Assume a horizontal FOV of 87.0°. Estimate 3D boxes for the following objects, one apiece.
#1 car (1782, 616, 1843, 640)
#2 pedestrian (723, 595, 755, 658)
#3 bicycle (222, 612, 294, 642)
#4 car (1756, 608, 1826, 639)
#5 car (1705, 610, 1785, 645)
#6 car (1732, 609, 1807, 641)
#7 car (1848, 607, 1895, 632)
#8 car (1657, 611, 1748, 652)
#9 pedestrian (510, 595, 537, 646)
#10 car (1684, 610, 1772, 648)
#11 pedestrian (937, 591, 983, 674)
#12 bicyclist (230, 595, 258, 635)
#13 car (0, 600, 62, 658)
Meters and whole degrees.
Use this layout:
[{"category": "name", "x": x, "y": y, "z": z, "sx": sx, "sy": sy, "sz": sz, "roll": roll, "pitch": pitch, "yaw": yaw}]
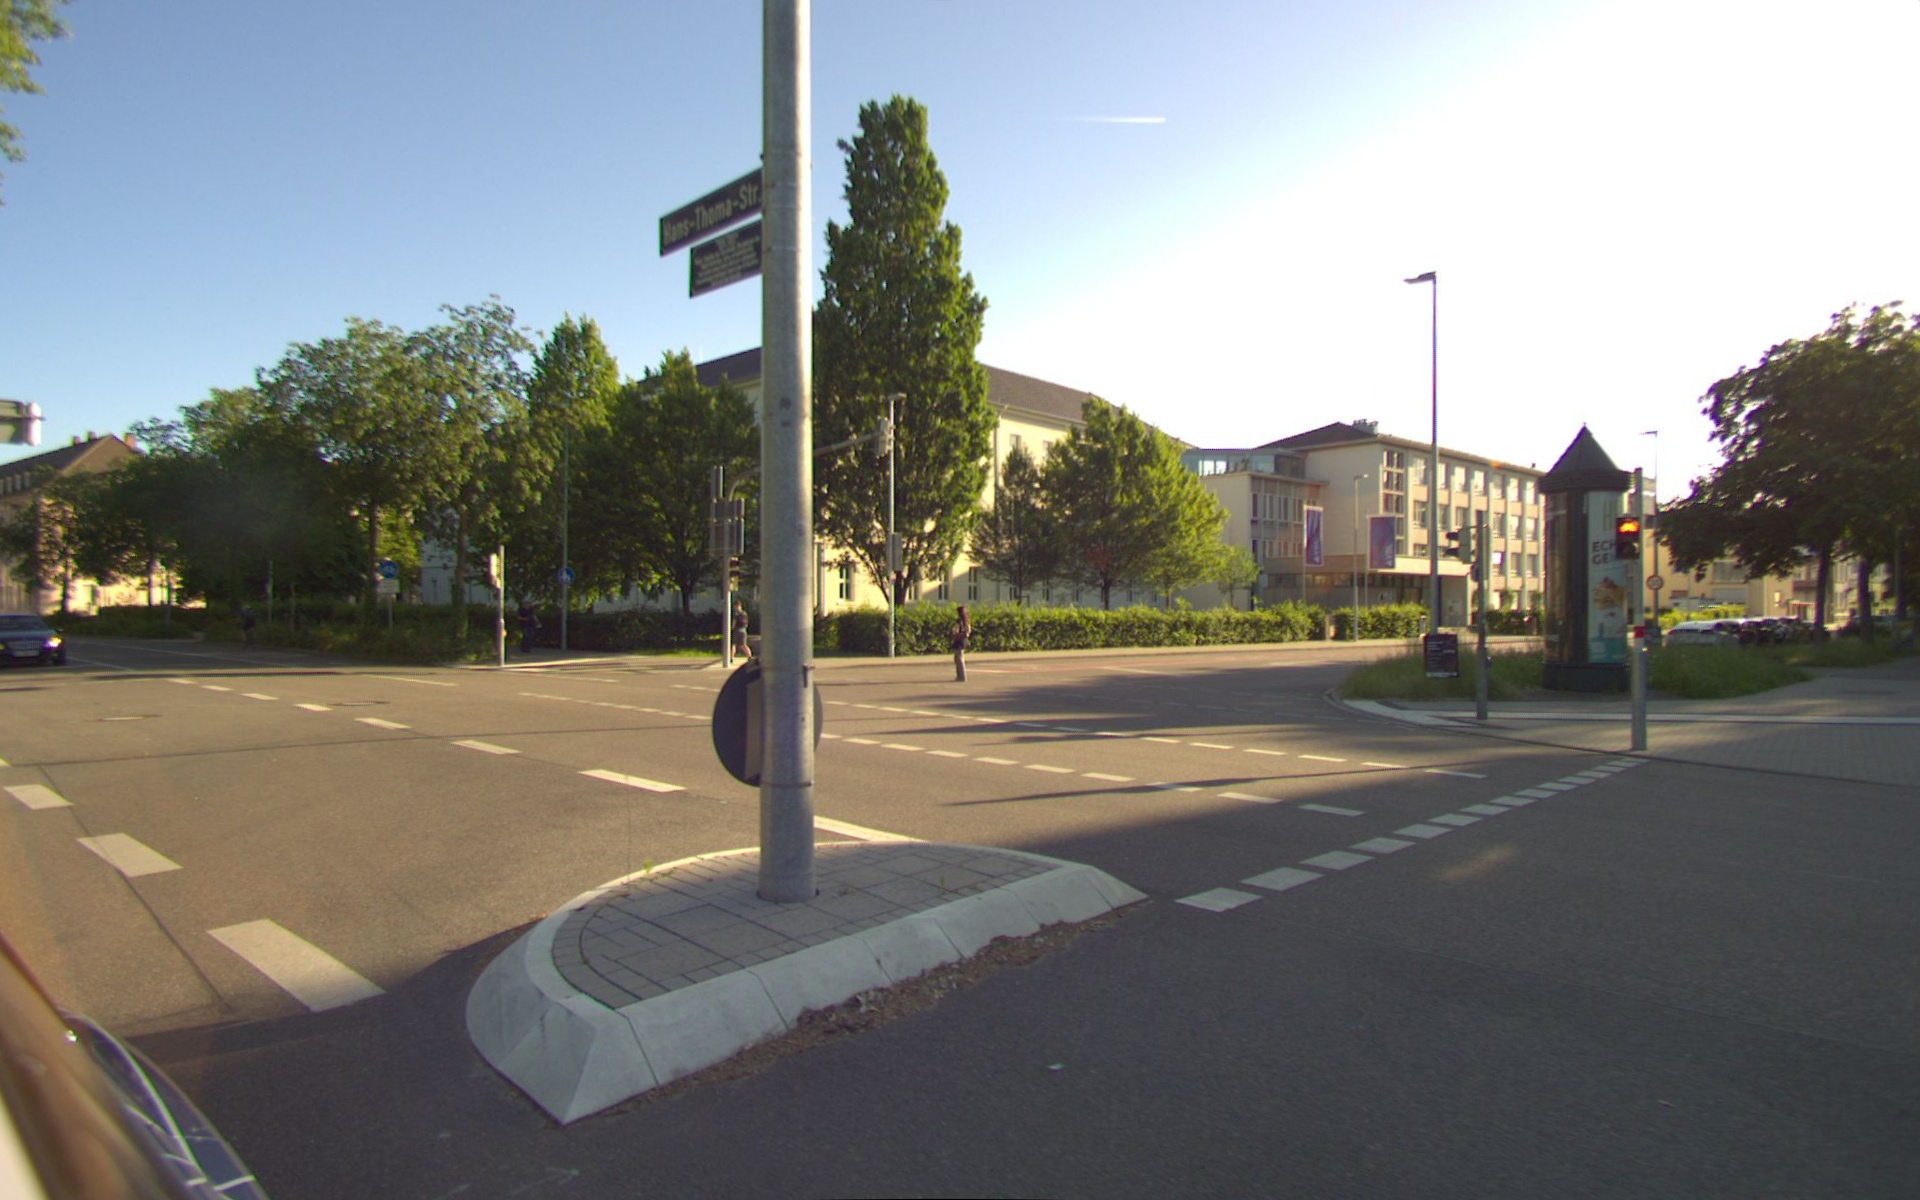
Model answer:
[{"category": "car", "x": 47.943, "y": 1.535, "z": 56.879, "sx": 3.937, "sy": 1.250, "sz": 2.003, "roll": 0, "pitch": 0, "yaw": -41}, {"category": "pedestrian", "x": -6.474, "y": 0.776, "z": 29.690, "sx": 0.681, "sy": 1.830, "sz": 0.681, "roll": 1, "pitch": -1, "yaw": -40}, {"category": "bicycle", "x": -26.740, "y": 1.018, "z": 38.605, "sx": 2.151, "sy": 1.125, "sz": 0.700, "roll": 0, "pitch": 0, "yaw": -26}, {"category": "car", "x": 44.467, "y": 1.224, "z": 54.116, "sx": 4.192, "sy": 1.551, "sz": 2.241, "roll": 0, "pitch": 0, "yaw": -41}, {"category": "car", "x": 36.949, "y": 1.242, "z": 47.614, "sx": 4.192, "sy": 1.551, "sz": 2.241, "roll": 0, "pitch": 0, "yaw": -41}, {"category": "car", "x": 40.703, "y": 1.224, "z": 50.858, "sx": 4.192, "sy": 1.551, "sz": 2.241, "roll": 0, "pitch": 0, "yaw": -41}, {"category": "car", "x": 60.650, "y": 1.251, "z": 67.314, "sx": 3.937, "sy": 1.598, "sz": 1.814, "roll": 0, "pitch": -1, "yaw": -40}, {"category": "car", "x": 29.475, "y": 1.202, "z": 40.137, "sx": 4.192, "sy": 1.551, "sz": 2.072, "roll": 0, "pitch": 0, "yaw": -41}, {"category": "pedestrian", "x": -14.799, "y": 0.693, "z": 34.322, "sx": 0.681, "sy": 1.694, "sz": 0.681, "roll": 1, "pitch": -1, "yaw": -40}, {"category": "car", "x": 33.410, "y": 1.205, "z": 44.003, "sx": 4.192, "sy": 1.551, "sz": 2.241, "roll": 0, "pitch": 0, "yaw": -41}, {"category": "pedestrian", "x": 0.003, "y": 0.722, "z": 22.755, "sx": 0.733, "sy": 1.830, "sz": 0.727, "roll": 1, "pitch": -1, "yaw": -40}, {"category": "bicyclist", "x": -27.159, "y": 0.558, "z": 38.407, "sx": 0.745, "sy": 1.477, "sz": 0.700, "roll": 1, "pitch": -1, "yaw": -26}, {"category": "car", "x": -25.276, "y": 0.736, "z": 26.779, "sx": 4.525, "sy": 1.428, "sz": 1.699, "roll": 0, "pitch": -1, "yaw": 41}]
